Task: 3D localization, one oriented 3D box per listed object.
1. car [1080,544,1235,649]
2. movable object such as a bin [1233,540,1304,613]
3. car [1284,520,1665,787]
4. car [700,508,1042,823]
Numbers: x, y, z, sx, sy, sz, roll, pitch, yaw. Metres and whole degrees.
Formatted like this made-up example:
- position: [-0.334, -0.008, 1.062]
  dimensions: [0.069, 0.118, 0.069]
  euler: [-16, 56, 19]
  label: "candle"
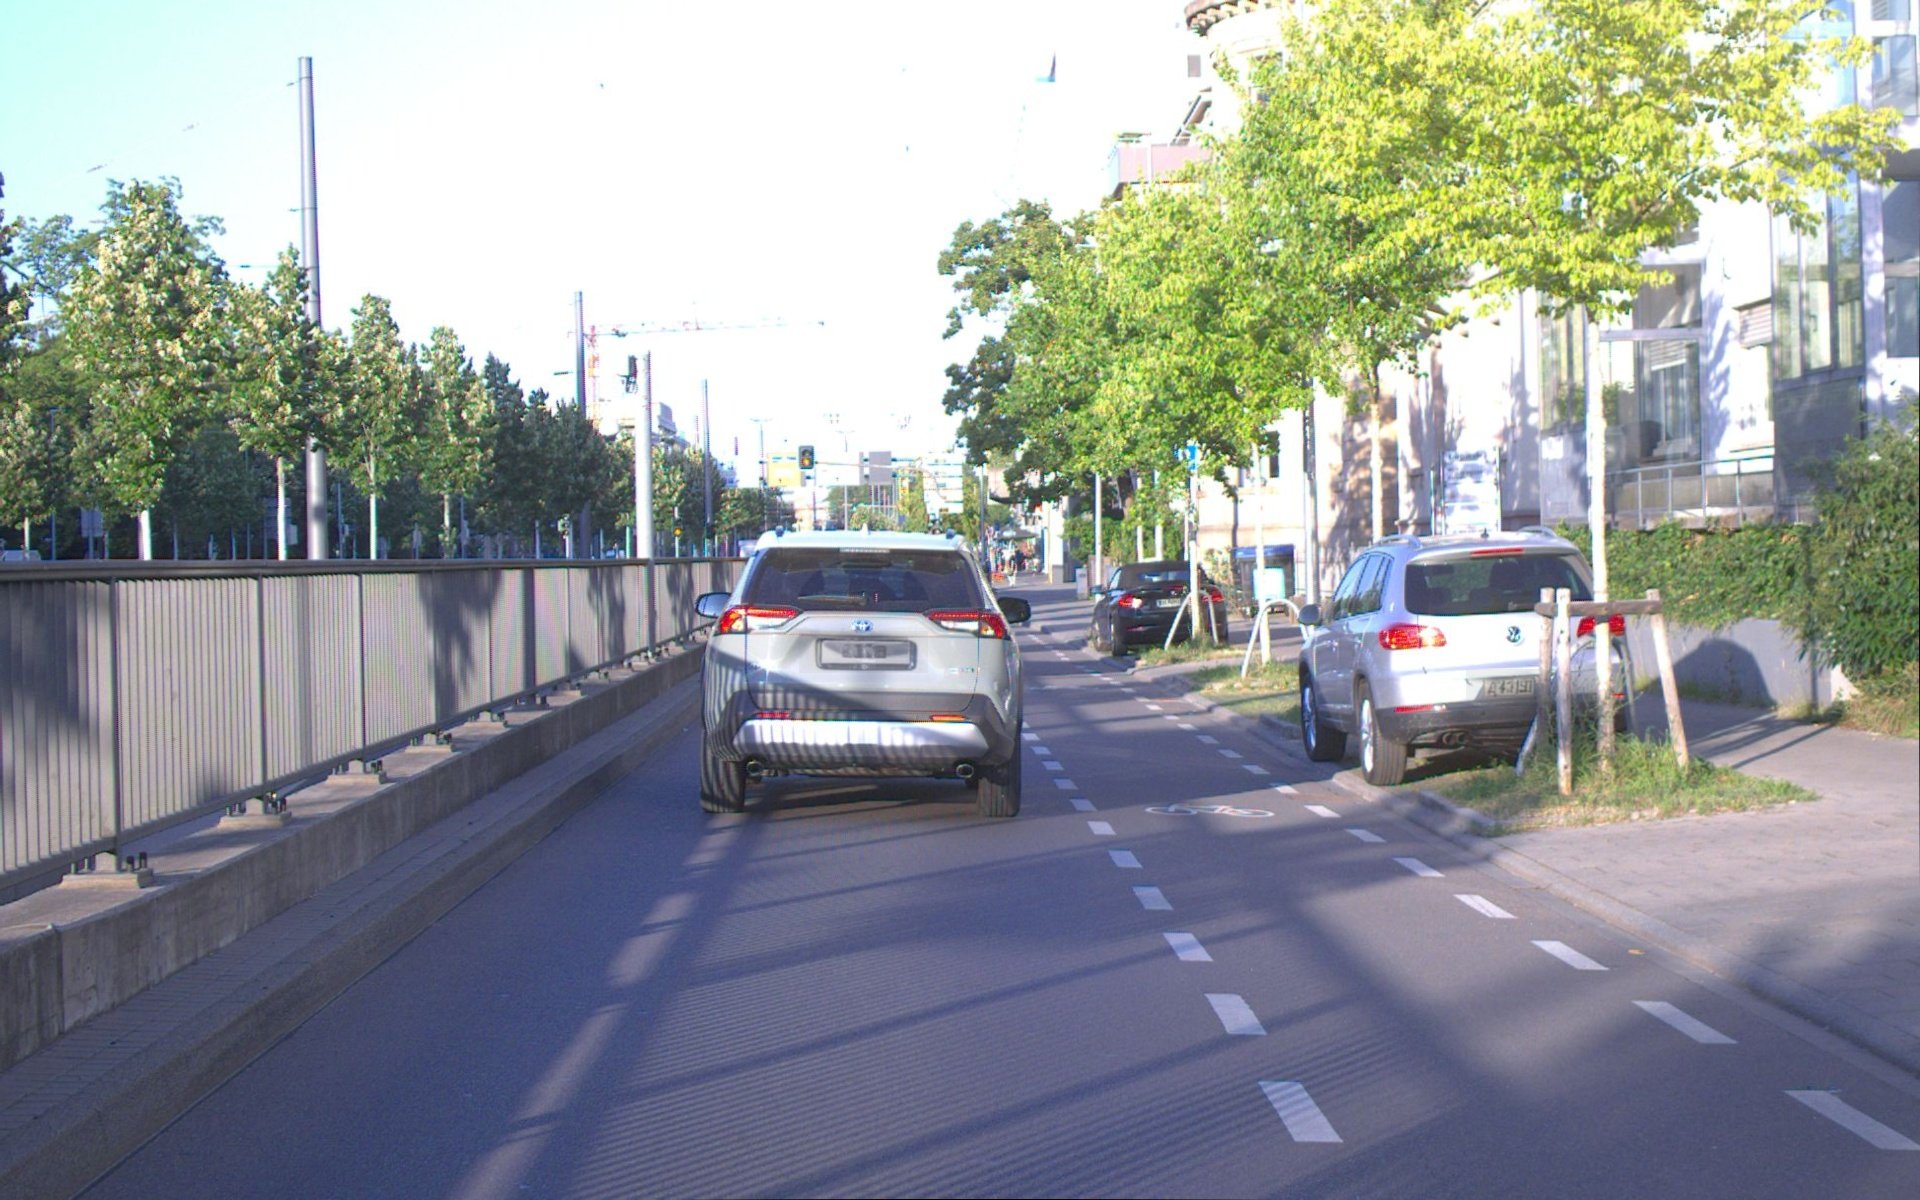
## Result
- position: [3.040, -0.089, 53.726]
  dimensions: [1.792, 1.466, 4.446]
  euler: [-4, 1, -4]
  label: "car"
- position: [6.241, -0.487, 69.708]
  dimensions: [1.260, 1.457, 1.124]
  euler: [-1, 1, -4]
  label: "movable object such as a bin"
- position: [3.541, 0.305, 24.421]
  dimensions: [1.854, 1.701, 4.255]
  euler: [-1, 1, -3]
  label: "car"
- position: [-0.587, 0.340, 20.998]
  dimensions: [1.857, 1.708, 4.193]
  euler: [1, 1, -3]
  label: "car"
